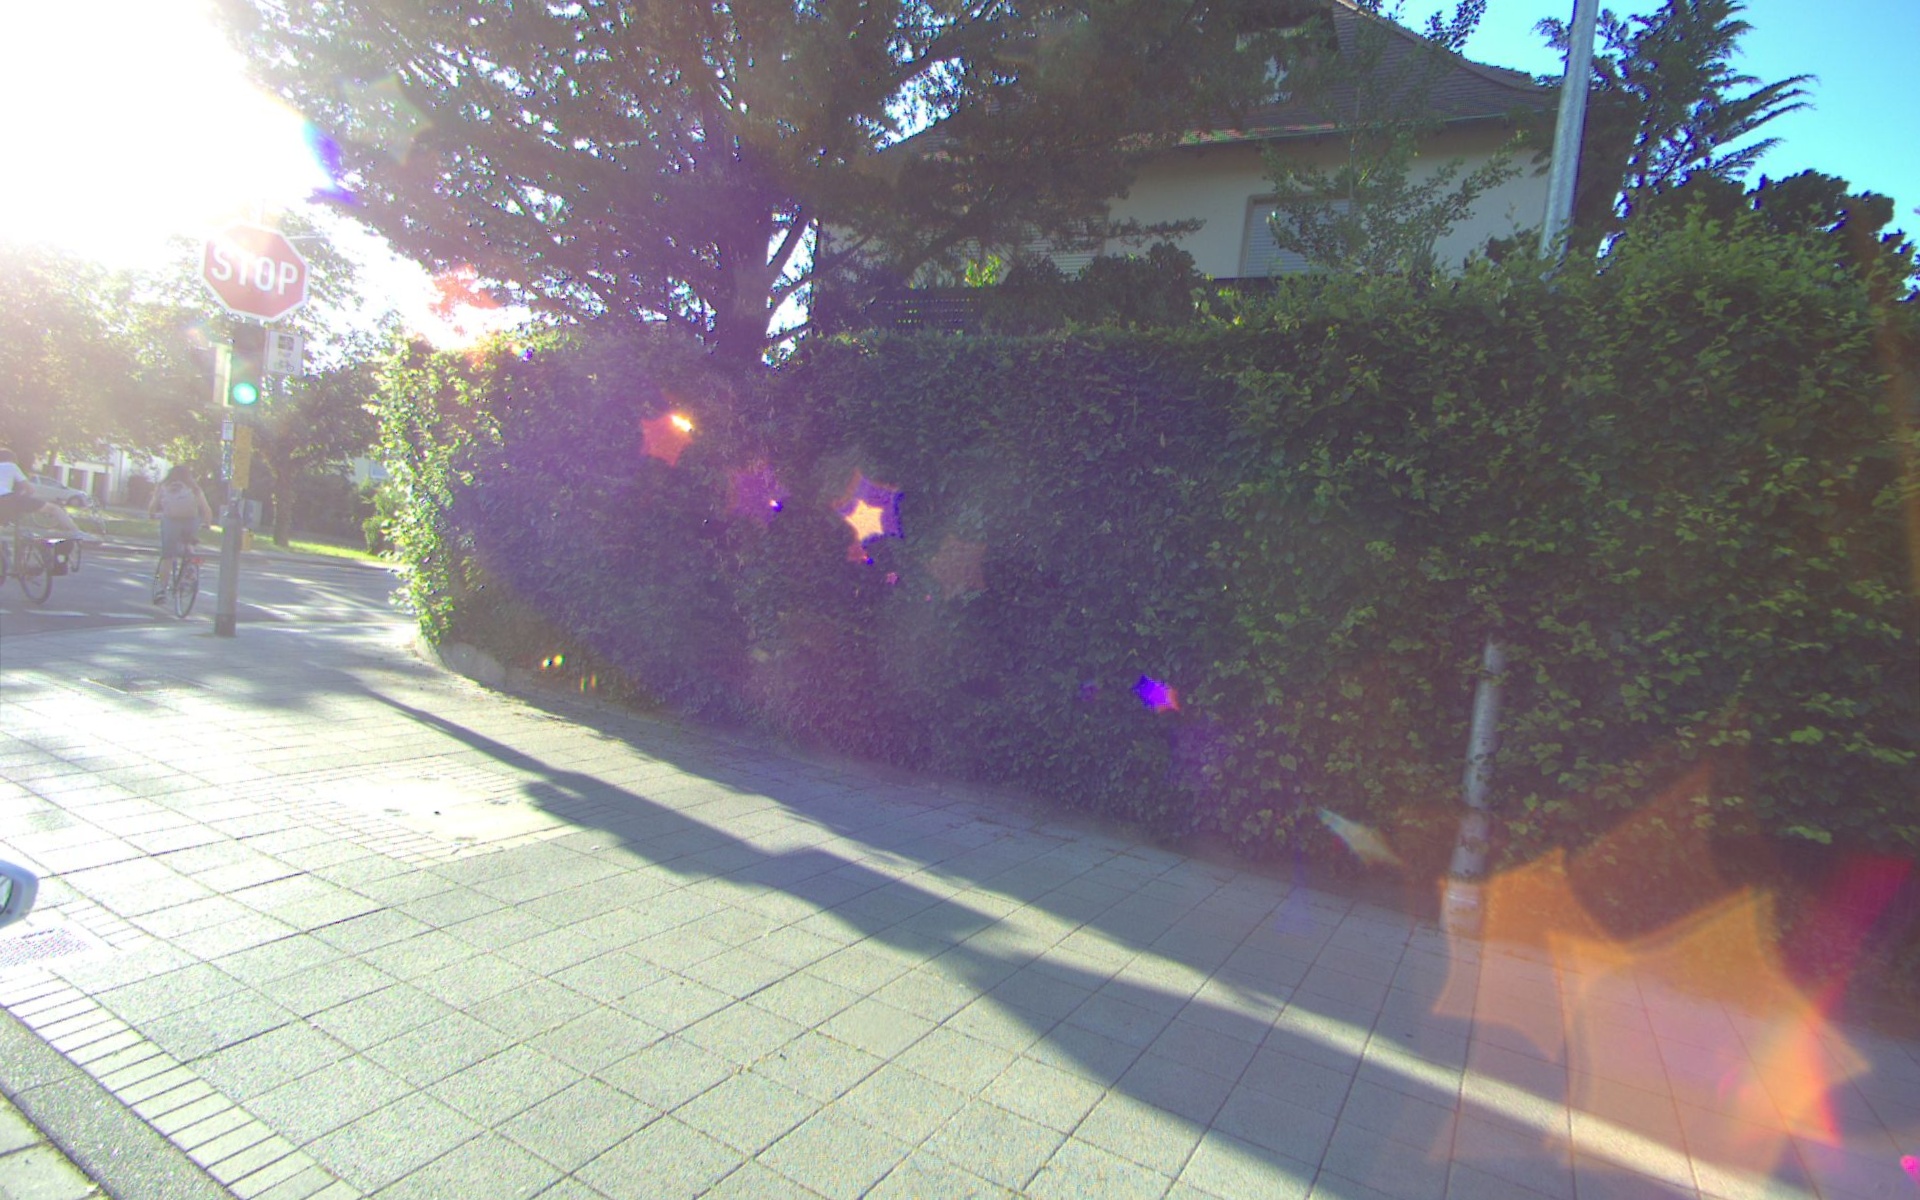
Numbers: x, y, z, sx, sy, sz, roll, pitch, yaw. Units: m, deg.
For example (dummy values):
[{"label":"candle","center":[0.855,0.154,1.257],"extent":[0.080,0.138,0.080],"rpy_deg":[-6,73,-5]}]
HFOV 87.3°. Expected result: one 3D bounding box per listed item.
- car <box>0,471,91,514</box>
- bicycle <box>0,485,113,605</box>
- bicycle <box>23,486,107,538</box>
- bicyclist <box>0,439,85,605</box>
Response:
[{"label":"car","center":[-46.406,-5.393,50.421],"extent":[1.497,1.542,3.933],"rpy_deg":[6,-2,25]},{"label":"bicycle","center":[-10.778,-0.674,11.511],"extent":[1.869,1.197,0.575],"rpy_deg":[7,-1,14]},{"label":"bicycle","center":[-23.257,-2.275,26.158],"extent":[0.460,1.103,1.521],"rpy_deg":[8,1,39]},{"label":"bicyclist","center":[-10.774,-0.891,11.375],"extent":[0.877,1.752,0.818],"rpy_deg":[7,-1,17]}]
